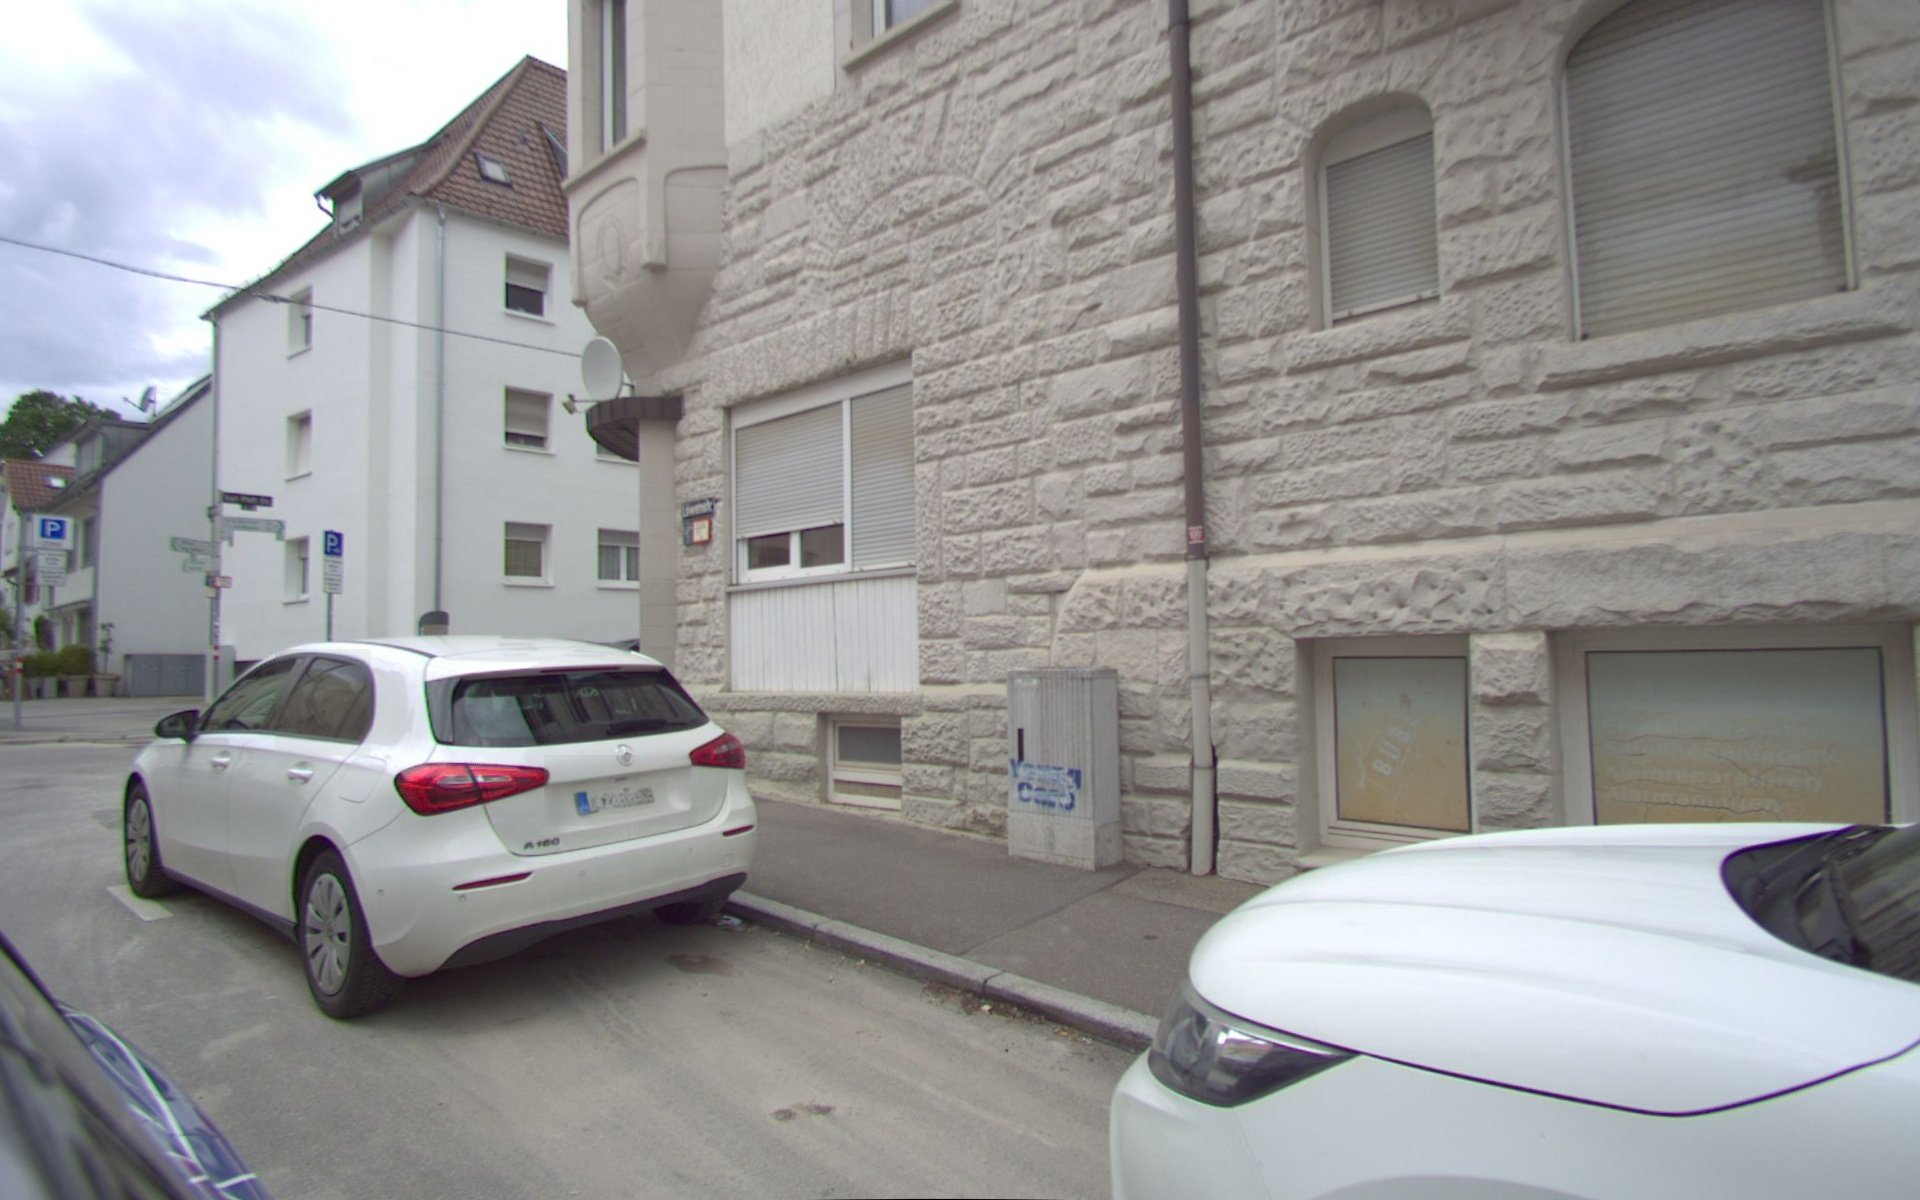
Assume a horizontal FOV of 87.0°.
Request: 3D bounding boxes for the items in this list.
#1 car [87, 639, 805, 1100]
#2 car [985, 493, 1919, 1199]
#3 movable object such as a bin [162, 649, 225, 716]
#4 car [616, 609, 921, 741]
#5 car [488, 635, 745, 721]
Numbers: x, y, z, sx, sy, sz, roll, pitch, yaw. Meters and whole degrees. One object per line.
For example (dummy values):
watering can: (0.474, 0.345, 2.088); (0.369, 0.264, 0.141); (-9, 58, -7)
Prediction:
car: (-2.860, 0.925, 5.187); (4.235, 1.425, 1.682); (-2, -3, 39)
car: (2.241, 0.685, 0.719); (4.235, 1.527, 1.827); (-2, -3, 39)
movable object such as a bin: (-19.281, 2.059, 25.460); (1.001, 1.630, 0.998); (-3, -5, 40)
car: (-2.625, 0.986, 14.464); (1.826, 1.611, 3.970); (-4, -3, 43)
car: (-6.412, 1.422, 19.202); (1.827, 1.402, 4.235); (-6, -5, 44)
